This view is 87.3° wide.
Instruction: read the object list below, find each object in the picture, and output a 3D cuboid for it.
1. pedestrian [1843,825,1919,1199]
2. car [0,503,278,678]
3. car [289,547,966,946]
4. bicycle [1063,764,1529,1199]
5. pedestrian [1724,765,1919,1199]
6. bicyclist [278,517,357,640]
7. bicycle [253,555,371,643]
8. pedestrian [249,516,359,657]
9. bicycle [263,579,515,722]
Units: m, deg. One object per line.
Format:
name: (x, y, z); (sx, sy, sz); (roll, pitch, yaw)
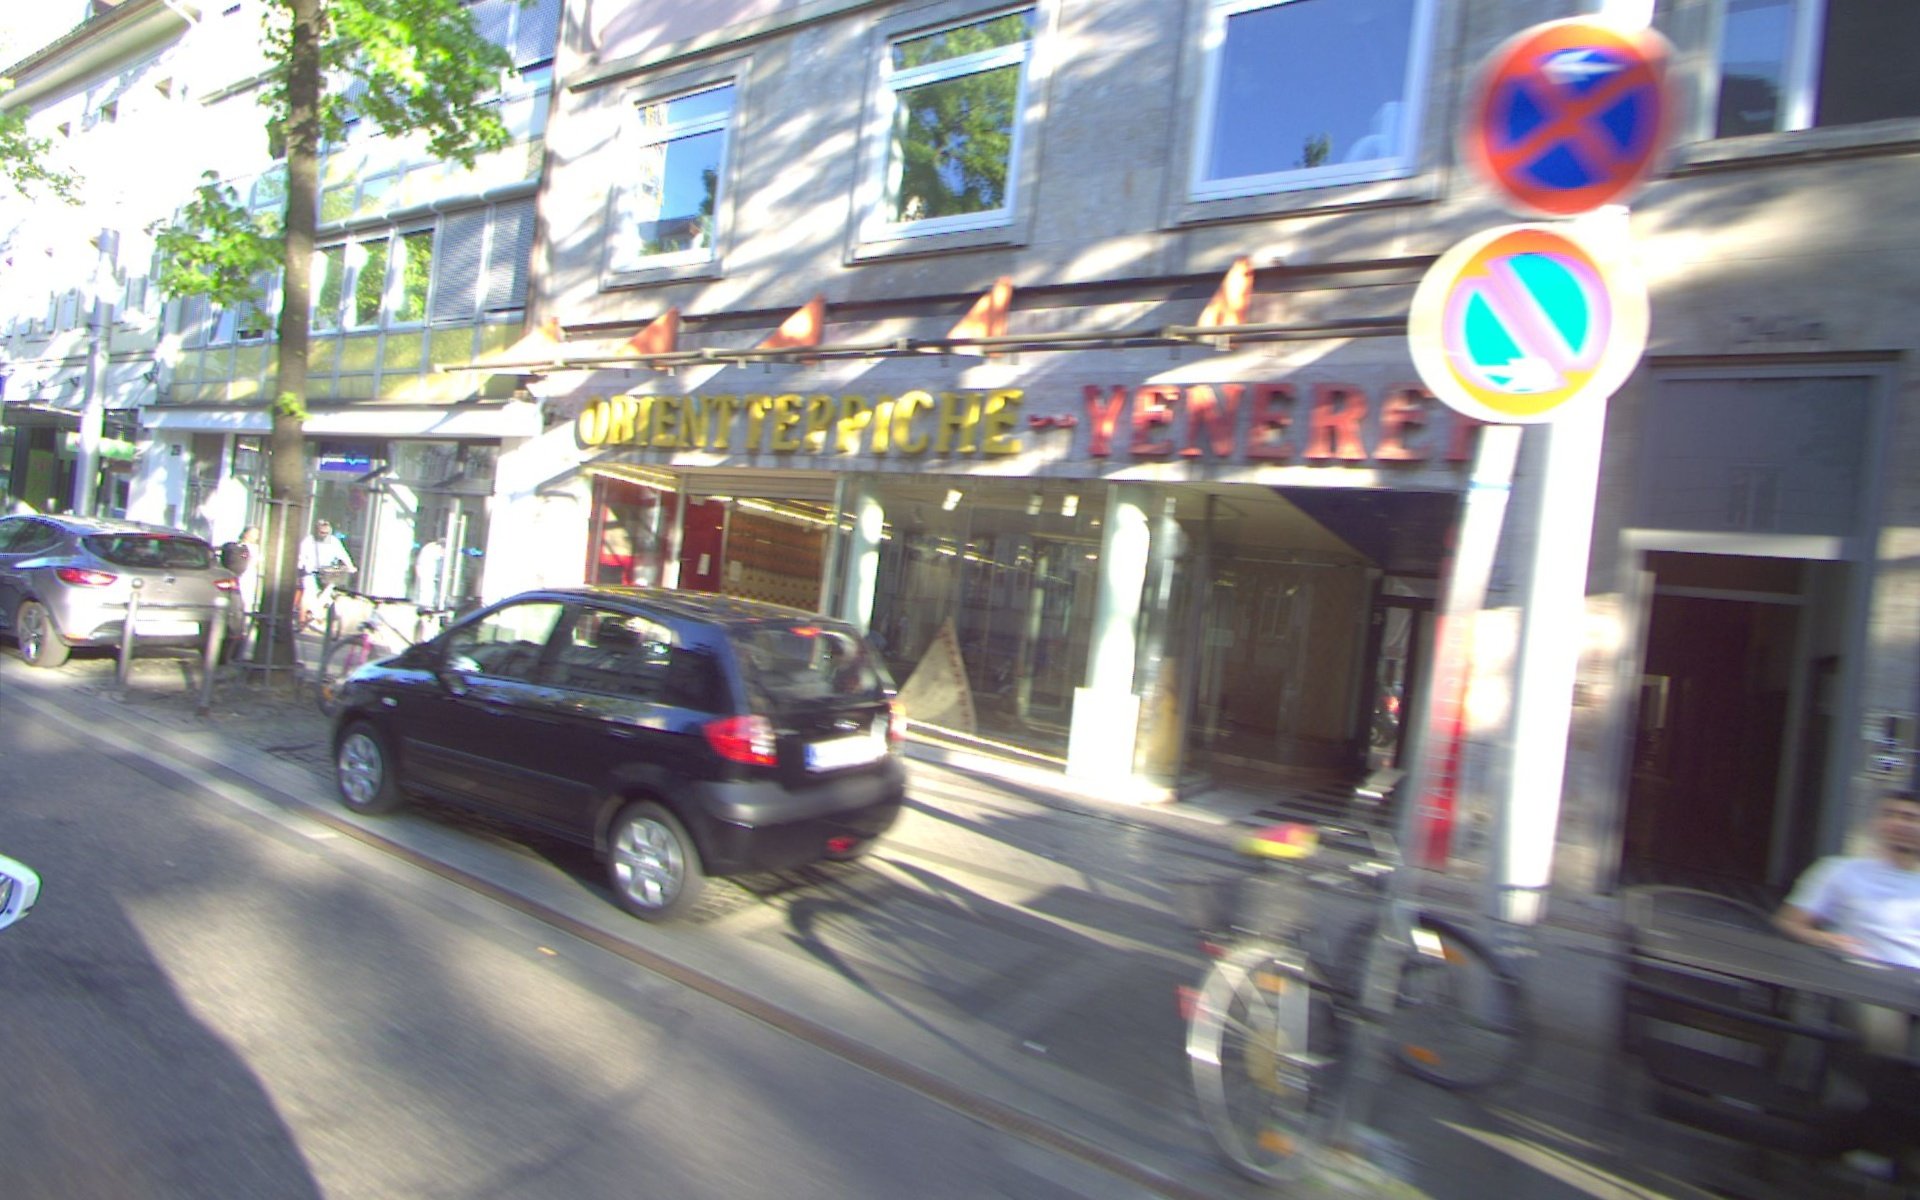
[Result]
pedestrian: (2.795, 1.322, 2.629); (0.577, 1.281, 0.817); (7, 0, 38)
car: (-9.484, -0.186, 10.851); (3.930, 1.505, 1.817); (6, 1, 28)
car: (-2.021, 0.632, 5.974); (3.593, 1.476, 1.802); (6, 0, 30)
bicycle: (1.212, 1.194, 3.427); (1.716, 1.153, 0.541); (6, 1, -37)
pedestrian: (3.502, 1.392, 3.663); (0.734, 1.403, 0.709); (7, 0, -5)
bicyclist: (-9.401, -0.306, 14.726); (0.590, 1.705, 0.639); (7, 1, 31)
bicycle: (-9.548, -0.024, 14.809); (1.830, 1.087, 0.648); (7, 0, 31)
pedestrian: (-8.323, -0.157, 12.775); (0.688, 1.666, 0.798); (7, 0, 31)
bicycle: (-5.082, 0.461, 9.110); (0.699, 1.087, 1.861); (7, 0, 23)
